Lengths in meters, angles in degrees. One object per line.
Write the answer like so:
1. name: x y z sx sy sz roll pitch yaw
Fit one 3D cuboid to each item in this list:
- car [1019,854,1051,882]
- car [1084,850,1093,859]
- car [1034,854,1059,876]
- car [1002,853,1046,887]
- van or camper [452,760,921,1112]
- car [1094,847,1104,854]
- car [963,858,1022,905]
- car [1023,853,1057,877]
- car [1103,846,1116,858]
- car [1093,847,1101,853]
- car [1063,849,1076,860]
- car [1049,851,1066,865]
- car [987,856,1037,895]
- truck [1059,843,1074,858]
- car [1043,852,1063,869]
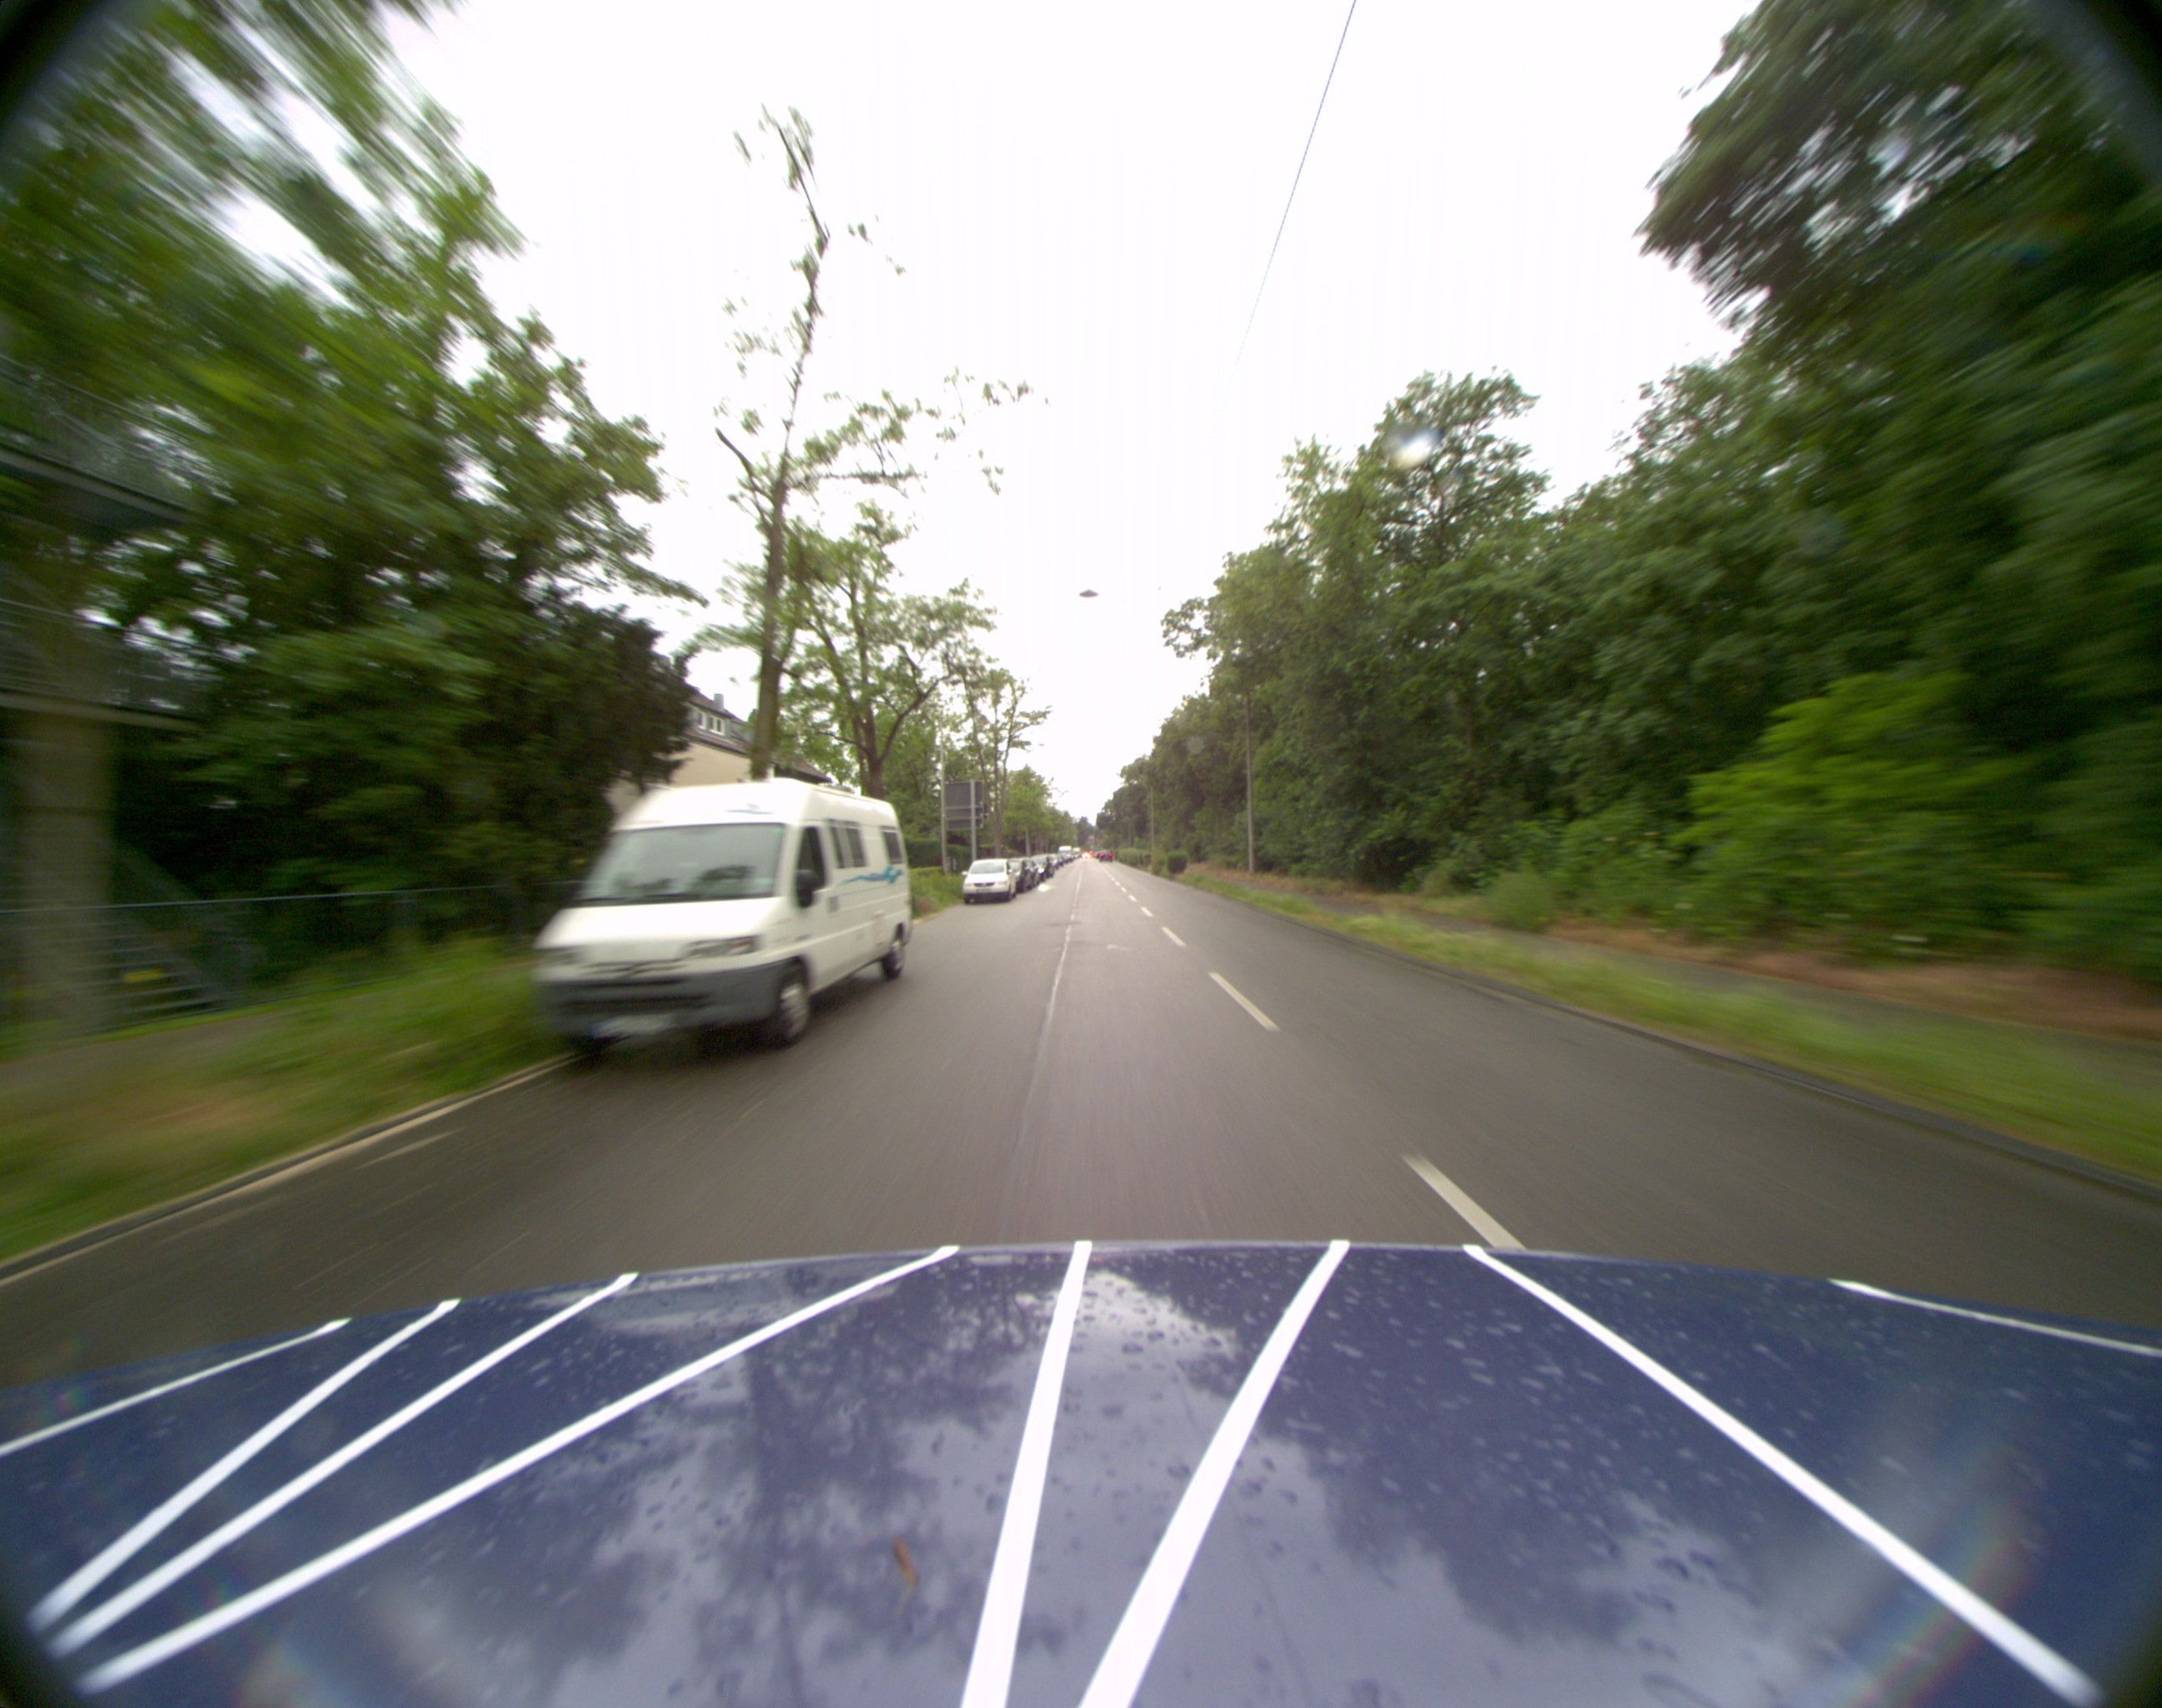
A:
1. car: -2.683 0.793 45.366 1.621 1.459 4.409 -3 1 -1
2. car: 1.826 0.062 187.070 1.998 2.002 3.999 -2 1 2
3. car: -2.533 0.773 55.913 1.601 1.508 2.801 -2 1 0
4. car: -2.902 0.791 39.373 1.757 1.517 4.822 -3 1 1
5. van or camper: -3.497 0.585 8.413 2.042 2.465 5.638 -4 1 0
6. car: 3.685 -0.675 153.571 1.851 1.490 3.999 0 1 -1
7. car: -3.165 0.940 27.738 1.575 1.464 3.764 -3 1 1
8. car: -2.697 0.673 50.504 1.732 1.402 4.001 -3 1 4
9. car: 4.107 -0.294 110.869 1.680 1.608 4.061 0 1 0
10. car: 3.816 -0.950 181.657 1.999 1.543 3.999 0 1 0
11. car: -1.549 0.055 106.561 1.789 1.452 3.999 0 1 -1
12. car: -2.596 0.418 84.950 1.675 1.420 3.699 -2 1 0
13. car: -3.003 0.901 33.635 1.621 1.462 3.944 -3 1 2
14. truck: -2.199 -0.533 118.963 2.230 2.322 5.113 0 1 -1
15. car: -2.671 0.603 72.275 1.675 1.420 3.699 -2 1 0
